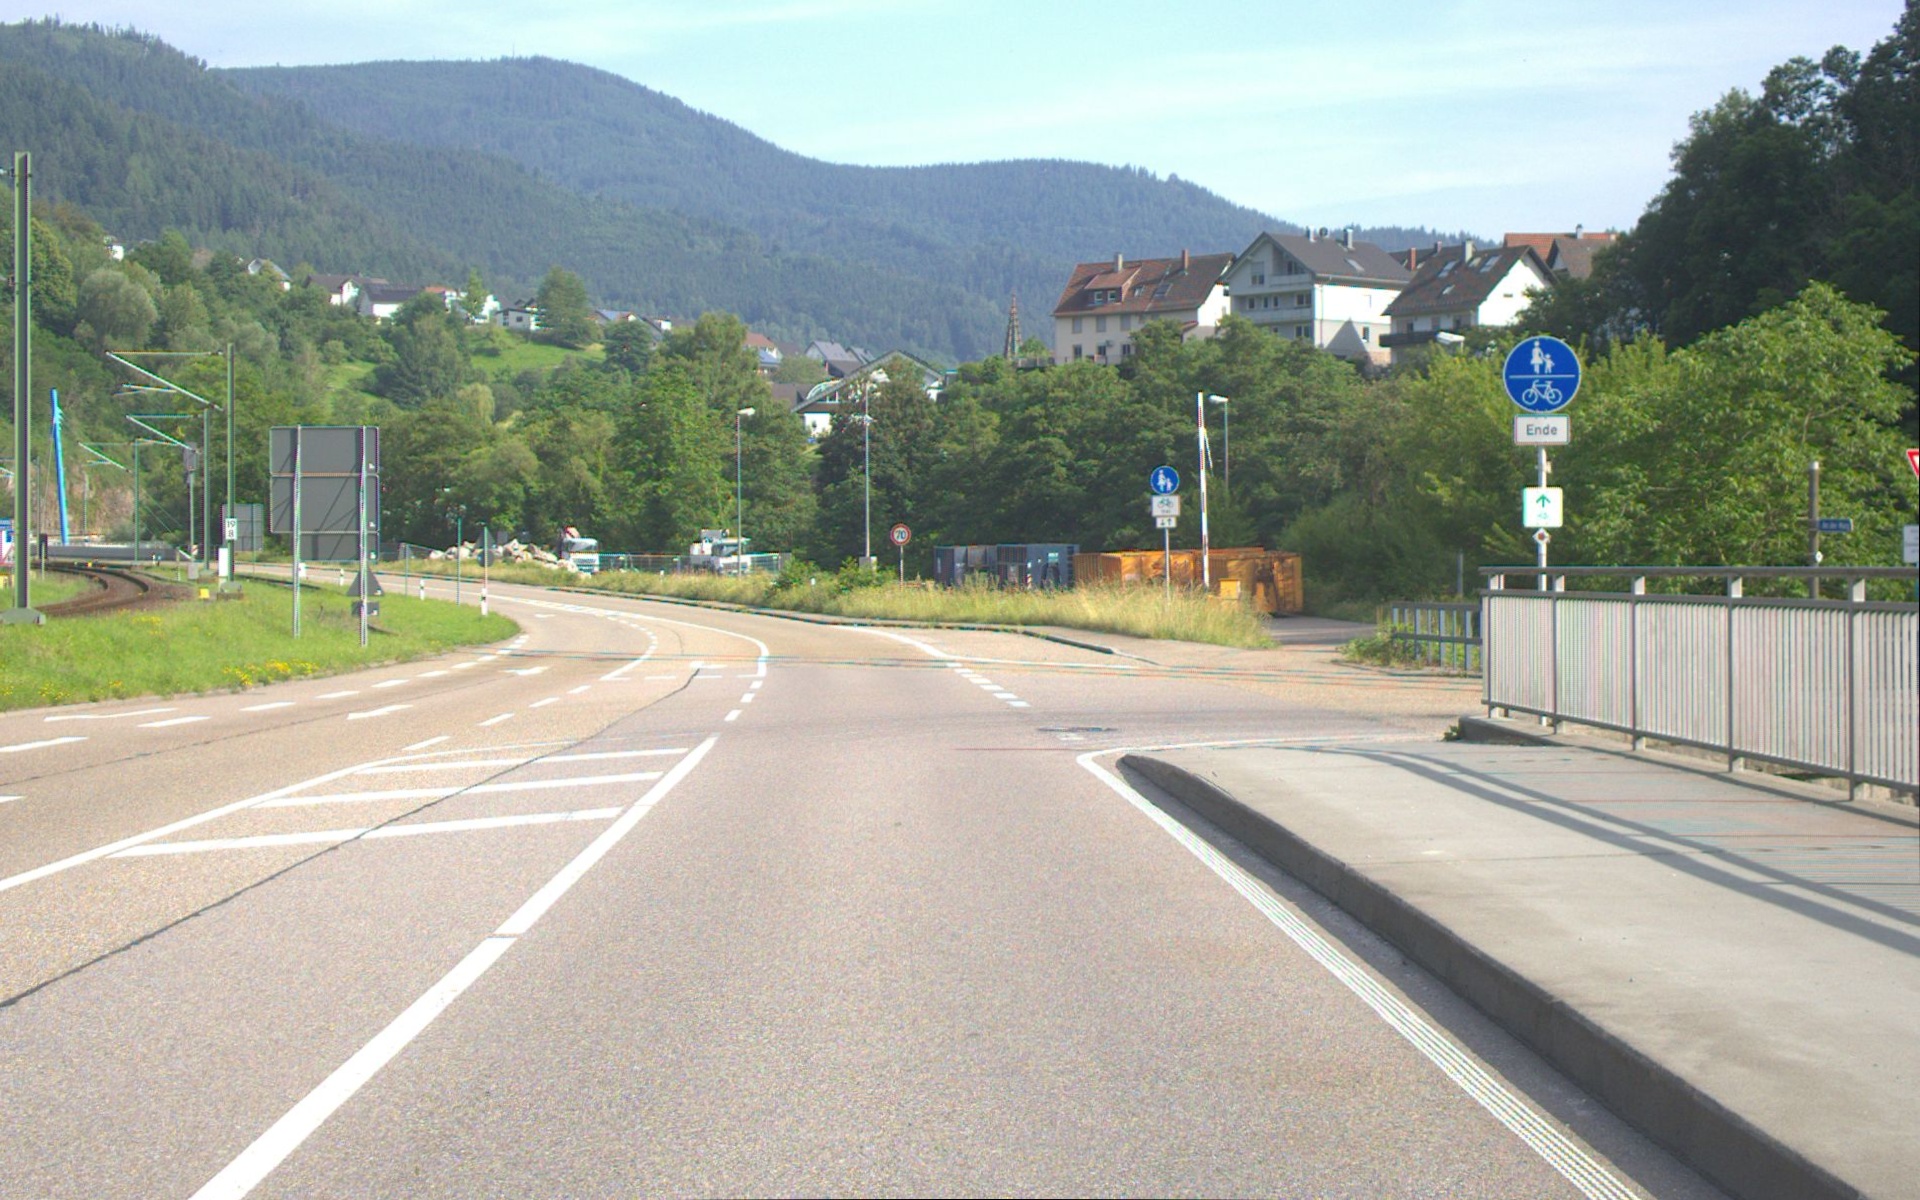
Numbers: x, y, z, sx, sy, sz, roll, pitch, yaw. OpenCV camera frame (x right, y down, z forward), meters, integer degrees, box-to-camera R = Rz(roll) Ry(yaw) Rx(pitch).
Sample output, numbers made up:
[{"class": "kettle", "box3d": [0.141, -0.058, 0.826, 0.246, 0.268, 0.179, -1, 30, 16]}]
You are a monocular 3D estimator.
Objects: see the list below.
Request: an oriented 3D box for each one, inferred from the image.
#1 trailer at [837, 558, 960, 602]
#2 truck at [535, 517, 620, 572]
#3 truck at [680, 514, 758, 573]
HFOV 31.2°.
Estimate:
[{"class": "trailer", "box3d": [-2.420, -0.792, 130.845, 2.791, 1.469, 9.890, 2, 1, -12]}, {"class": "truck", "box3d": [-27.119, -3.948, 243.215, 3.102, 3.769, 8.646, 0, 1, -27]}, {"class": "truck", "box3d": [-15.985, -3.772, 227.814, 3.102, 3.769, 8.647, 1, 1, -18]}]
